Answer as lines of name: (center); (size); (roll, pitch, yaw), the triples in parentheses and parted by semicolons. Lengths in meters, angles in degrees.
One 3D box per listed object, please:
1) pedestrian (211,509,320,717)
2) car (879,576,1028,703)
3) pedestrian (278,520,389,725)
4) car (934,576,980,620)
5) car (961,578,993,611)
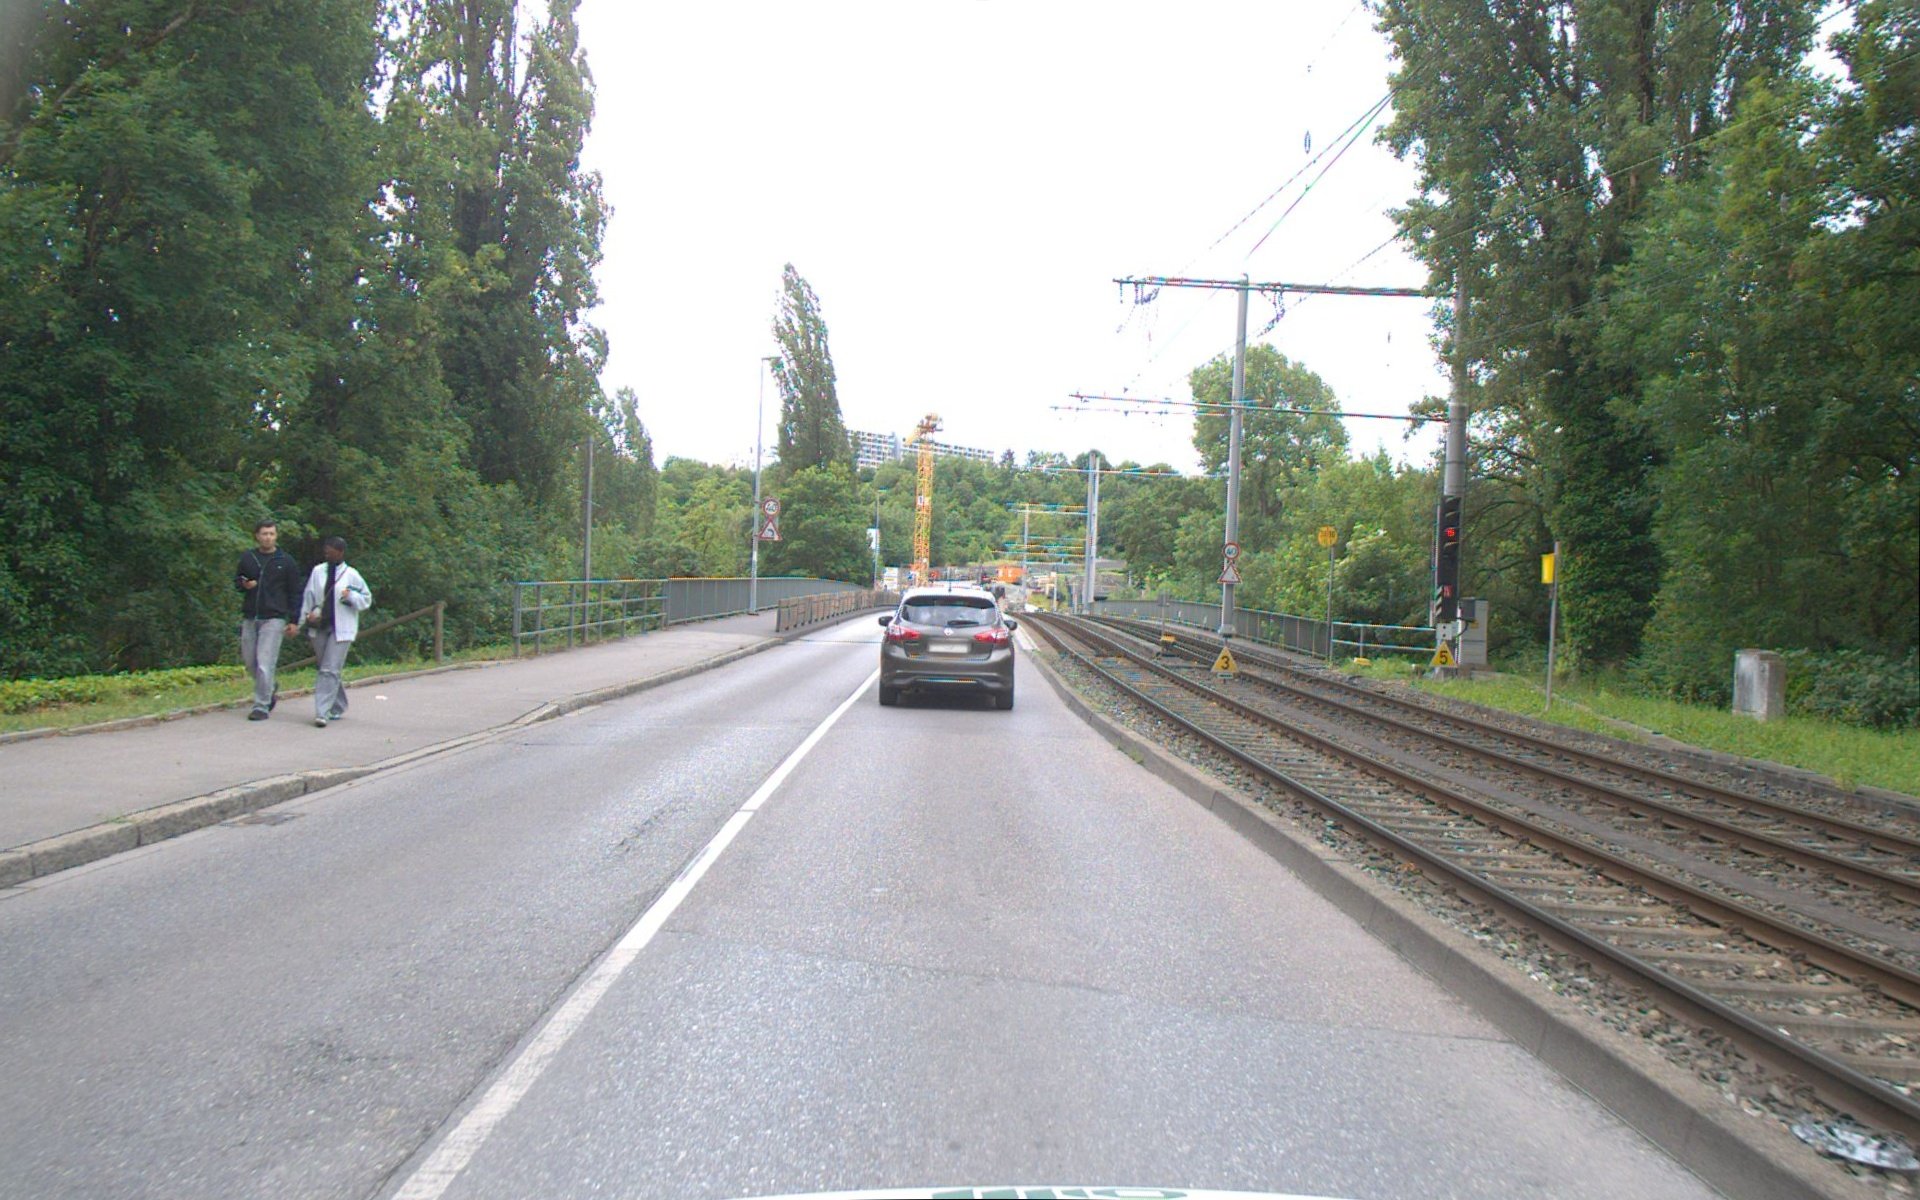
pedestrian: (-6.378, 0.110, 15.222); (0.575, 1.834, 0.822); (3, 0, -1)
car: (-0.175, 0.518, 22.468); (1.793, 1.536, 3.997); (1, -1, -3)
pedestrian: (-5.768, 0.196, 15.265); (0.540, 1.795, 0.858); (6, 0, -1)
car: (-0.157, -0.104, 68.964); (1.646, 1.634, 4.307); (3, 1, -2)
car: (0.932, -0.311, 90.686); (1.645, 1.634, 4.310); (3, 1, 1)
